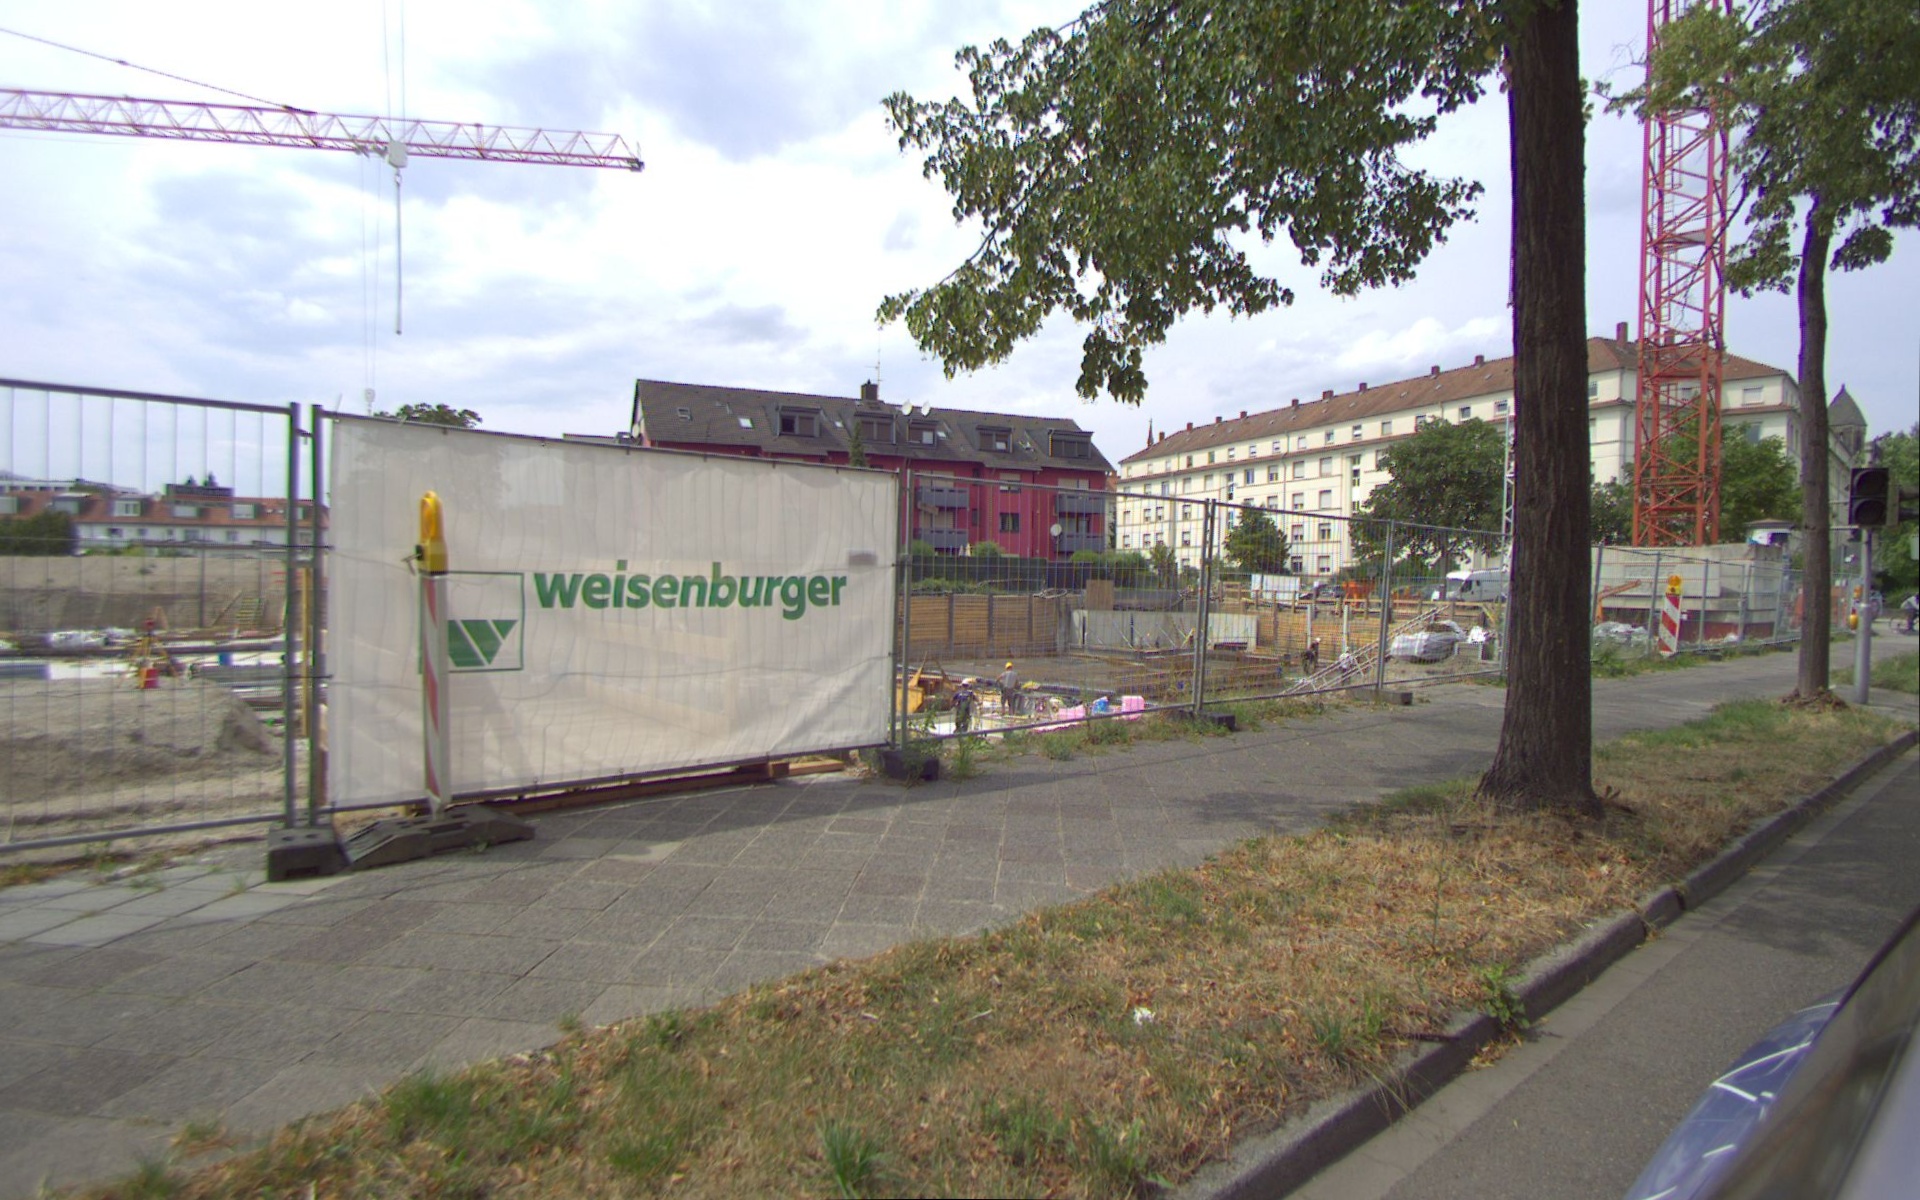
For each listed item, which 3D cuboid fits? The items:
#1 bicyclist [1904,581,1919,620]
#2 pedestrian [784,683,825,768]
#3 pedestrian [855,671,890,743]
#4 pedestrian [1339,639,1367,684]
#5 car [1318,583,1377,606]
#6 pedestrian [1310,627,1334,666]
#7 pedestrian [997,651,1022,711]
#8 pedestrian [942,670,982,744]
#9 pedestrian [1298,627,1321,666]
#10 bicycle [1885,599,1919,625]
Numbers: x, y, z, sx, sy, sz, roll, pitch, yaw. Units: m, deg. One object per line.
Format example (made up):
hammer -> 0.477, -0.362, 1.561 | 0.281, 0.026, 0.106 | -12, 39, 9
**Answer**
bicyclist -> 36.391, 0.024, 38.048 | 0.700, 1.431, 1.082 | 1, -2, -9
pedestrian -> -3.533, 2.825, 22.952 | 0.705, 1.743, 0.847 | 0, 3, -25
pedestrian -> -2.253, 2.727, 25.911 | 0.828, 1.743, 0.722 | 1, 2, -6
pedestrian -> 16.088, 2.516, 41.396 | 0.706, 1.743, 0.846 | 1, 2, -4
car -> 28.838, -0.409, 75.357 | 3.837, 1.609, 1.803 | -1, 0, -20
pedestrian -> 17.227, 2.195, 48.185 | 0.706, 1.743, 0.846 | 1, 2, -4
pedestrian -> 1.523, 2.524, 31.530 | 0.707, 1.743, 0.845 | 1, 2, 1
pedestrian -> 0.049, 2.726, 25.857 | 0.965, 1.743, 0.845 | 1, 2, 1
pedestrian -> 16.478, 2.200, 47.724 | 0.706, 1.743, 0.846 | 1, 2, -4
bicycle -> 36.371, 0.472, 38.032 | 0.700, 0.945, 2.483 | 1, 0, -9
